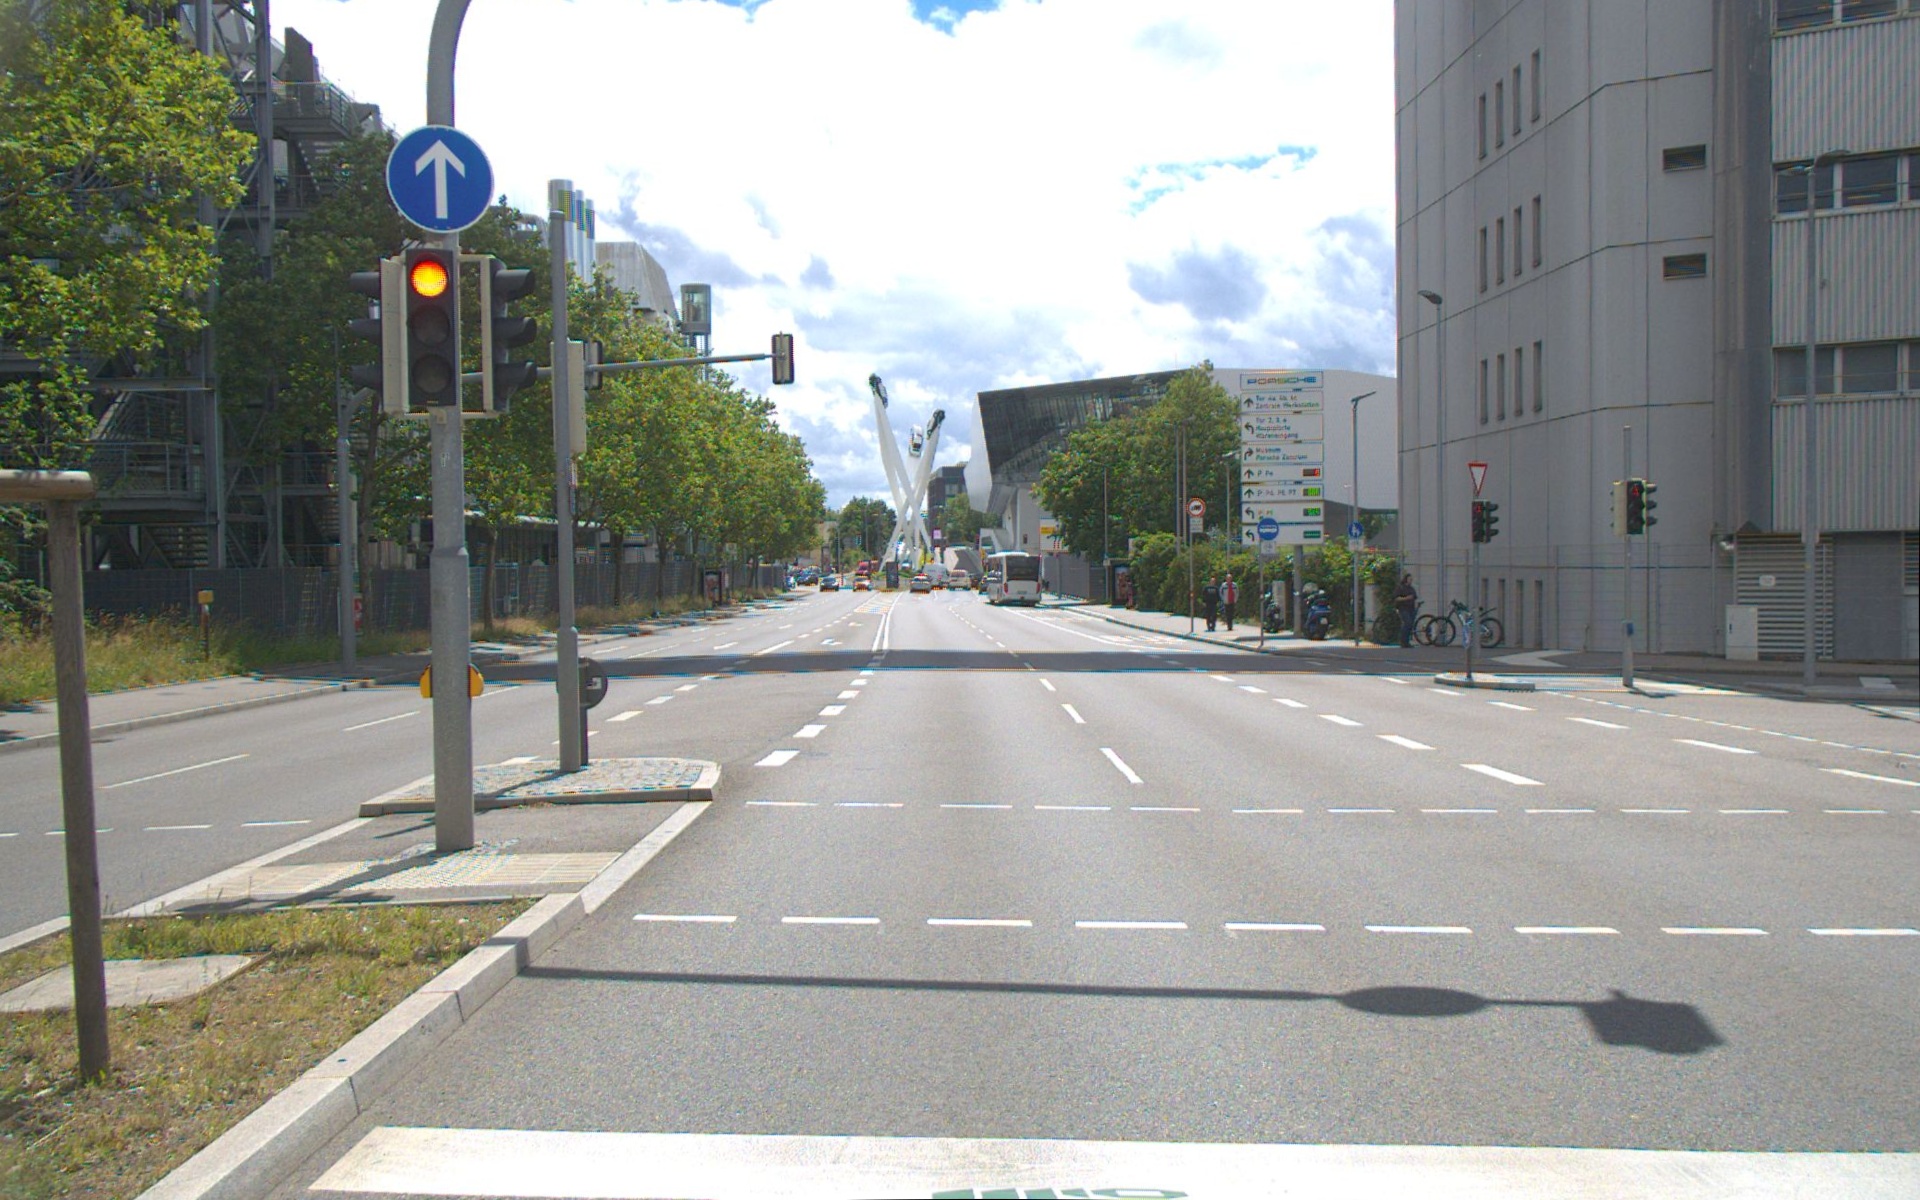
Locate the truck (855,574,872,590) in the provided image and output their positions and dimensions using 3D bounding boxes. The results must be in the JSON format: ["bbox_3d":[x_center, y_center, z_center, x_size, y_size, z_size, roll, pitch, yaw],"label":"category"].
[{"bbox_3d":[-9.668,-1.794,165.332,1.553,1.564,3.673,0,0,-6],"label":"truck"}]

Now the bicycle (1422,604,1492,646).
[{"bbox_3d":[11.650,0.580,38.840,0.392,0.953,1.912,0,0,-26],"label":"bicycle"}]

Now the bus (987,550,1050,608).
[{"bbox_3d":[3.716,-1.334,108.000,3.383,3.605,10.601,0,0,-2],"label":"bus"}]

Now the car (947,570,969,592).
[{"bbox_3d":[-0.169,-1.930,165.587,1.952,2.049,4.001,1,-1,3],"label":"car"}]

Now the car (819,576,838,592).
[{"bbox_3d":[-13.619,-1.664,171.791,1.782,1.564,3.677,-2,0,-2],"label":"car"}]

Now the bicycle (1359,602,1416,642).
[{"bbox_3d":[10.616,0.546,41.111,0.391,0.953,1.917,0,0,-19],"label":"bicycle"}]

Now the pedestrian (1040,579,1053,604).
[{"bbox_3d":[7.320,-0.706,139.802,1.008,2.049,0.883,1,-1,-5],"label":"pedestrian"}]

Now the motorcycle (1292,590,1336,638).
[{"bbox_3d":[9.618,0.365,45.019,0.692,1.224,2.024,-2,1,-1],"label":"motorcycle"}]

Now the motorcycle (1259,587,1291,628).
[{"bbox_3d":[10.065,0.230,52.885,0.562,1.224,2.024,-2,1,-1],"label":"motorcycle"}]

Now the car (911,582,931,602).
[{"bbox_3d":[-3.498,-0.738,148.694,1.703,1.772,3.691,0,0,-1],"label":"car"}]

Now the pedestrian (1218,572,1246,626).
[{"bbox_3d":[8.870,-0.031,53.976,0.803,1.772,0.637,0,0,-1],"label":"pedestrian"}]

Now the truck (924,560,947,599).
[{"bbox_3d":[-2.541,-2.123,172.082,2.343,3.965,6.176,0,0,-1],"label":"truck"}]

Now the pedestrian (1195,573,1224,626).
[{"bbox_3d":[8.135,-0.016,53.975,0.803,1.737,0.881,0,0,-1],"label":"pedestrian"}]

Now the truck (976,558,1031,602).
[{"bbox_3d":[4.582,-2.073,171.732,3.379,4.468,9.426,0,0,17],"label":"truck"}]

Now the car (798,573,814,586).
[{"bbox_3d":[-20.447,-2.740,219.643,1.782,1.564,3.676,-2,0,-3],"label":"car"}]

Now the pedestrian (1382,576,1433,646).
[{"bbox_3d":[10.632,0.254,39.294,0.834,1.653,0.951,0,0,40],"label":"pedestrian"}]

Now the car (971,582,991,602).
[{"bbox_3d":[1.845,-0.685,148.316,1.703,1.772,3.691,0,0,-1],"label":"car"}]

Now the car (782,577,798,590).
[{"bbox_3d":[-21.390,-2.103,208.402,1.782,1.564,3.676,-2,0,-3],"label":"car"}]
